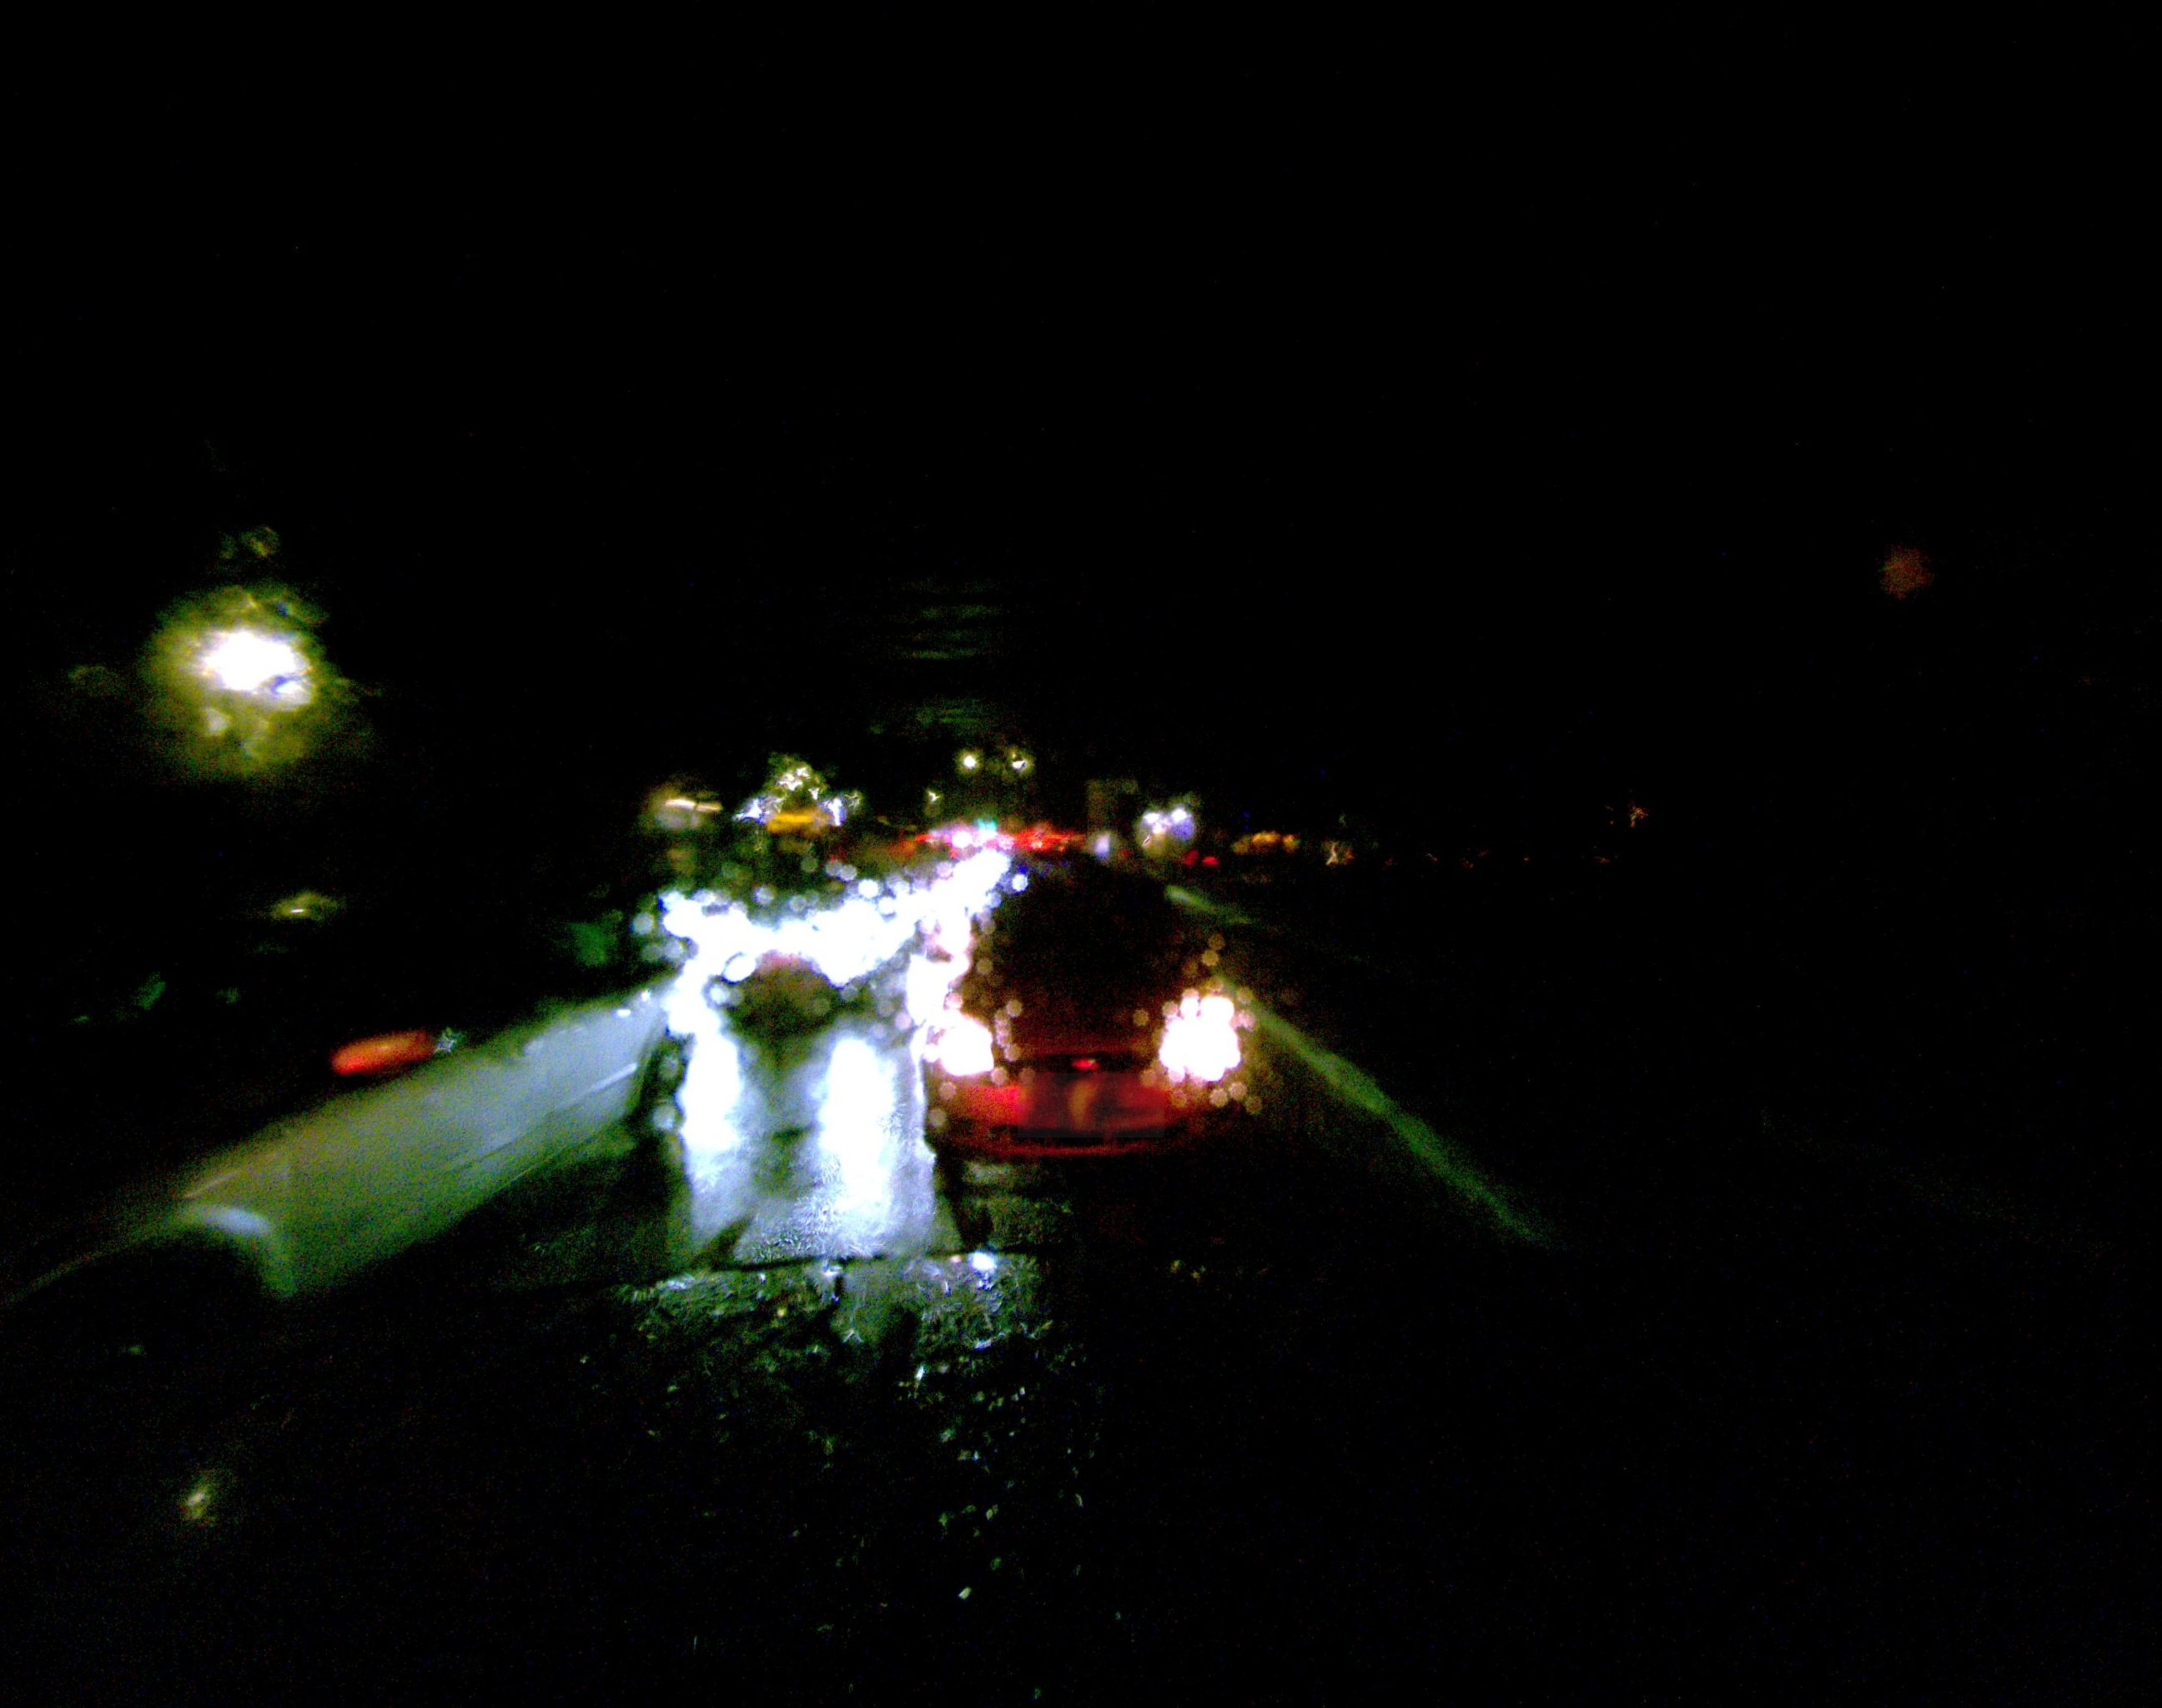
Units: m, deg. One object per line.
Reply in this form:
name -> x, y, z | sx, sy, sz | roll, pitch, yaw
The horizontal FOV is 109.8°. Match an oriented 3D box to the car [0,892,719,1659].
car -> -3.180, 1.005, 2.698 | 1.792, 1.359, 3.999 | -2, 2, 0

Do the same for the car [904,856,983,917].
car -> -3.924, 0.874, 22.250 | 1.629, 1.494, 3.999 | -2, 1, -2

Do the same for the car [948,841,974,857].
car -> -15.687, -0.643, 99.234 | 2.003, 1.915, 3.991 | -3, 1, -29

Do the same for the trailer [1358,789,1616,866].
trailer -> 25.317, -1.601, 48.261 | 13.903, 4.152, 3.971 | -2, 1, 6

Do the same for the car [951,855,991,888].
car -> -5.400, 0.821, 37.601 | 1.683, 1.463, 3.997 | -2, 1, -5

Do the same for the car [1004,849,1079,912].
car -> -1.144, 0.677, 21.545 | 1.881, 1.534, 3.998 | -2, 1, -4

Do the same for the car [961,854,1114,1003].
car -> -0.469, 0.848, 10.656 | 1.683, 1.591, 3.996 | -2, 1, 1

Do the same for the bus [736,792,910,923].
bus -> -7.399, 0.102, 23.465 | 2.777, 3.105, 9.757 | -2, 0, -5

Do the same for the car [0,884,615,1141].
car -> -6.515, 1.070, 6.924 | 1.756, 1.382, 4.566 | -2, 0, -1

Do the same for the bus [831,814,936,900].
bus -> -8.276, 0.136, 33.178 | 2.777, 3.105, 9.757 | -2, 0, -5

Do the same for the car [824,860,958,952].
car -> -3.709, 0.942, 15.511 | 1.869, 1.503, 3.765 | -2, 1, -3

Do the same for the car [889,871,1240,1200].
car -> -0.049, 0.906, 5.546 | 1.603, 1.360, 3.942 | -2, 1, 1

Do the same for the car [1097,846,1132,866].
car -> 2.908, 0.183, 66.527 | 1.824, 1.595, 4.138 | -2, 1, -15

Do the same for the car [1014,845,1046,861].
car -> -5.298, -0.134, 77.971 | 2.002, 1.510, 3.992 | -3, 1, -23

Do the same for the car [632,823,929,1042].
car -> -3.372, 0.746, 9.616 | 1.999, 2.076, 4.347 | -2, 1, -1

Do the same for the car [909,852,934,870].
car -> -14.954, 0.627, 71.055 | 1.745, 1.581, 3.993 | -3, 1, -19

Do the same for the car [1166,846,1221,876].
car -> 6.591, 0.365, 44.928 | 2.000, 1.596, 3.996 | -2, 1, -9

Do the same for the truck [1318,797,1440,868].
truck -> 18.999, -1.362, 48.939 | 6.369, 4.152, 3.971 | -2, 1, 6

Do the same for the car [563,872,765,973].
car -> -7.173, 1.083, 13.538 | 1.755, 1.422, 3.758 | -1, 0, -5
